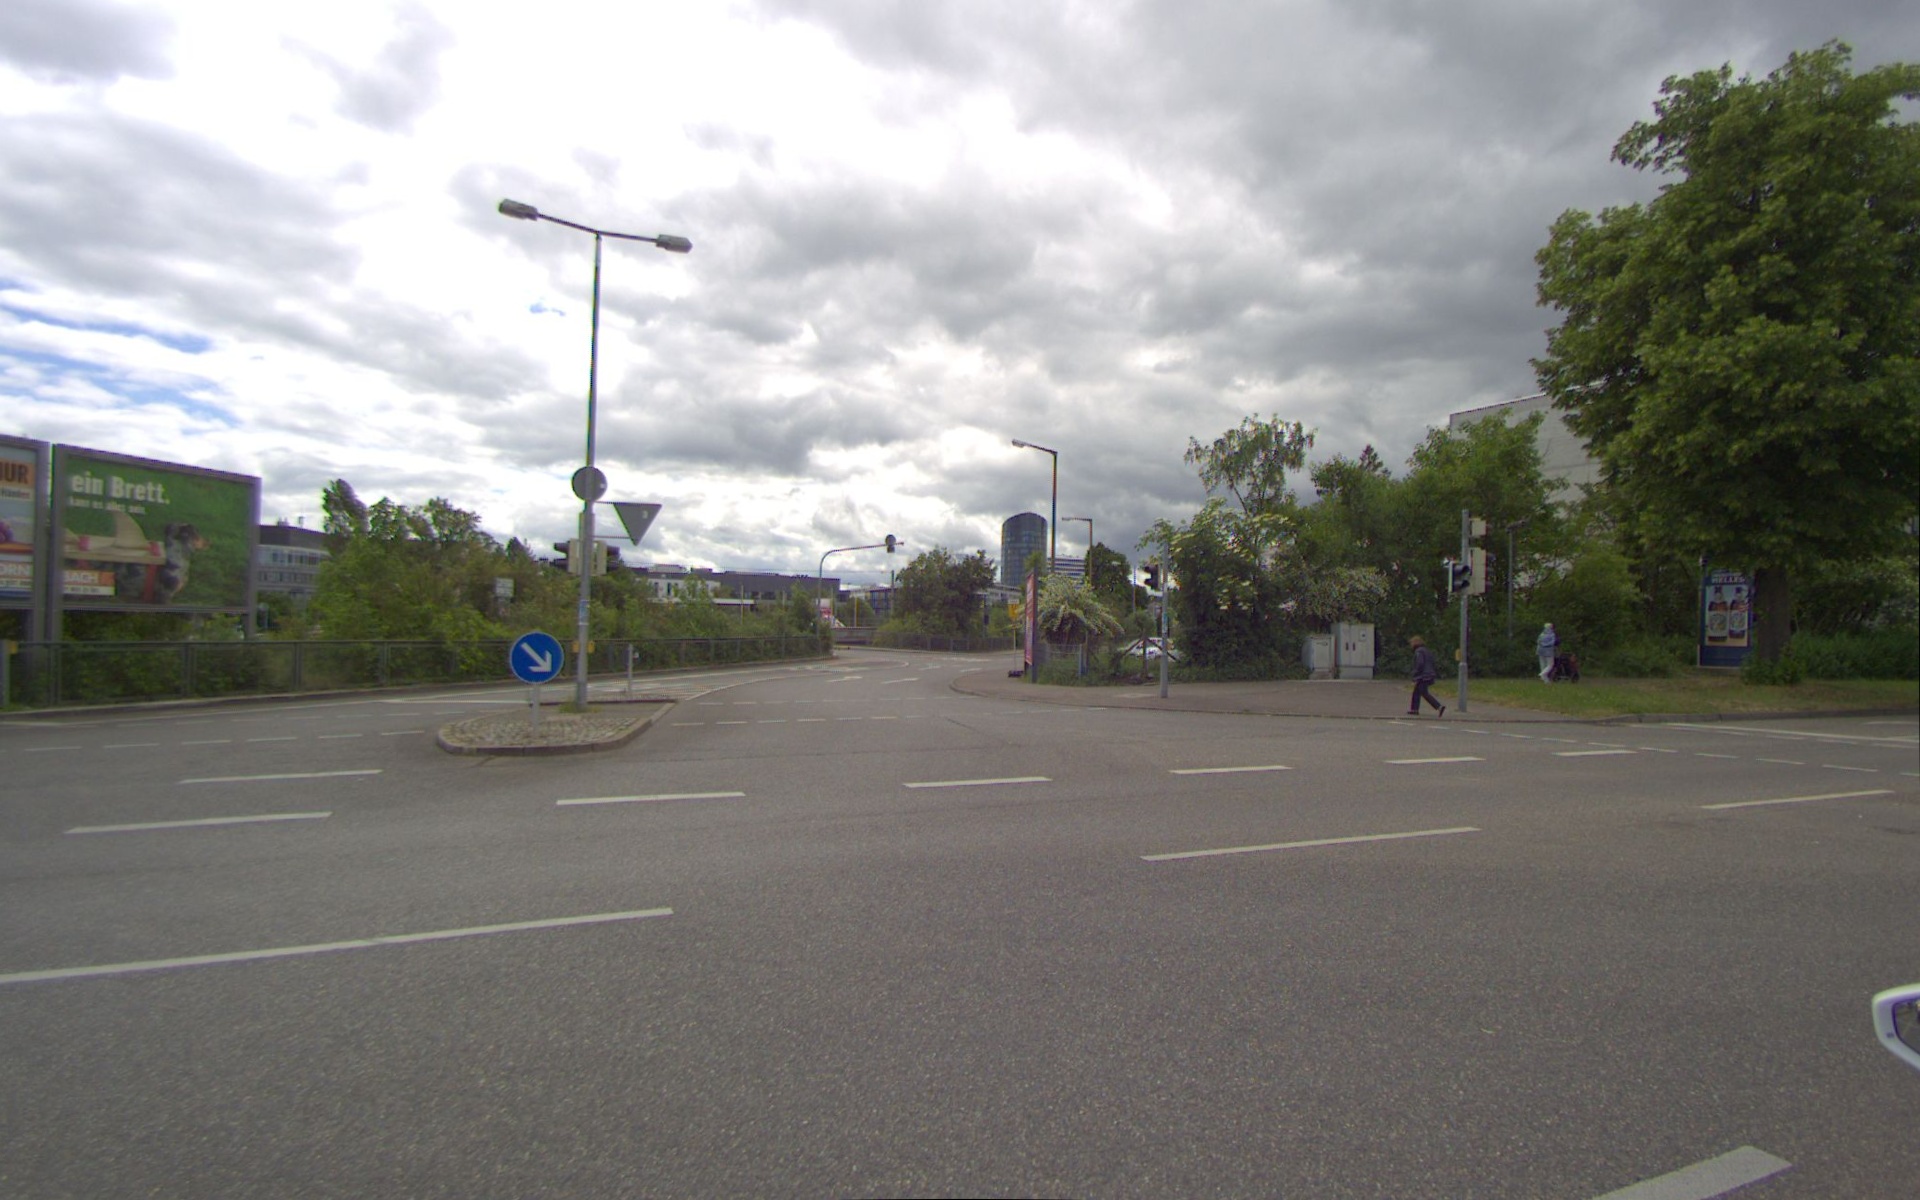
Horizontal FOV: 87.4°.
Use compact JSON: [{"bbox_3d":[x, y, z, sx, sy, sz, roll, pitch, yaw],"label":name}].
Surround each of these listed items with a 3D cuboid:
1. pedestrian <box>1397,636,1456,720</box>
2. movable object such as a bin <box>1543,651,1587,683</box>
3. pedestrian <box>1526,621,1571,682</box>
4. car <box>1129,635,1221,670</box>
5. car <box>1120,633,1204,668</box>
[{"bbox_3d":[8.662,1.428,18.656,0.595,1.427,0.766,-2,5,-40],"label":"pedestrian"},{"bbox_3d":[15.899,1.752,26.414,0.887,0.808,0.652,2,-1,-30],"label":"movable object such as a bin"},{"bbox_3d":[15.252,1.326,26.025,0.913,1.542,0.652,1,-1,-30],"label":"pedestrian"},{"bbox_3d":[10.243,2.503,47.905,3.931,1.574,1.798,1,-1,-13],"label":"car"},{"bbox_3d":[10.560,2.610,52.528,3.931,1.741,1.798,1,-1,-13],"label":"car"}]
